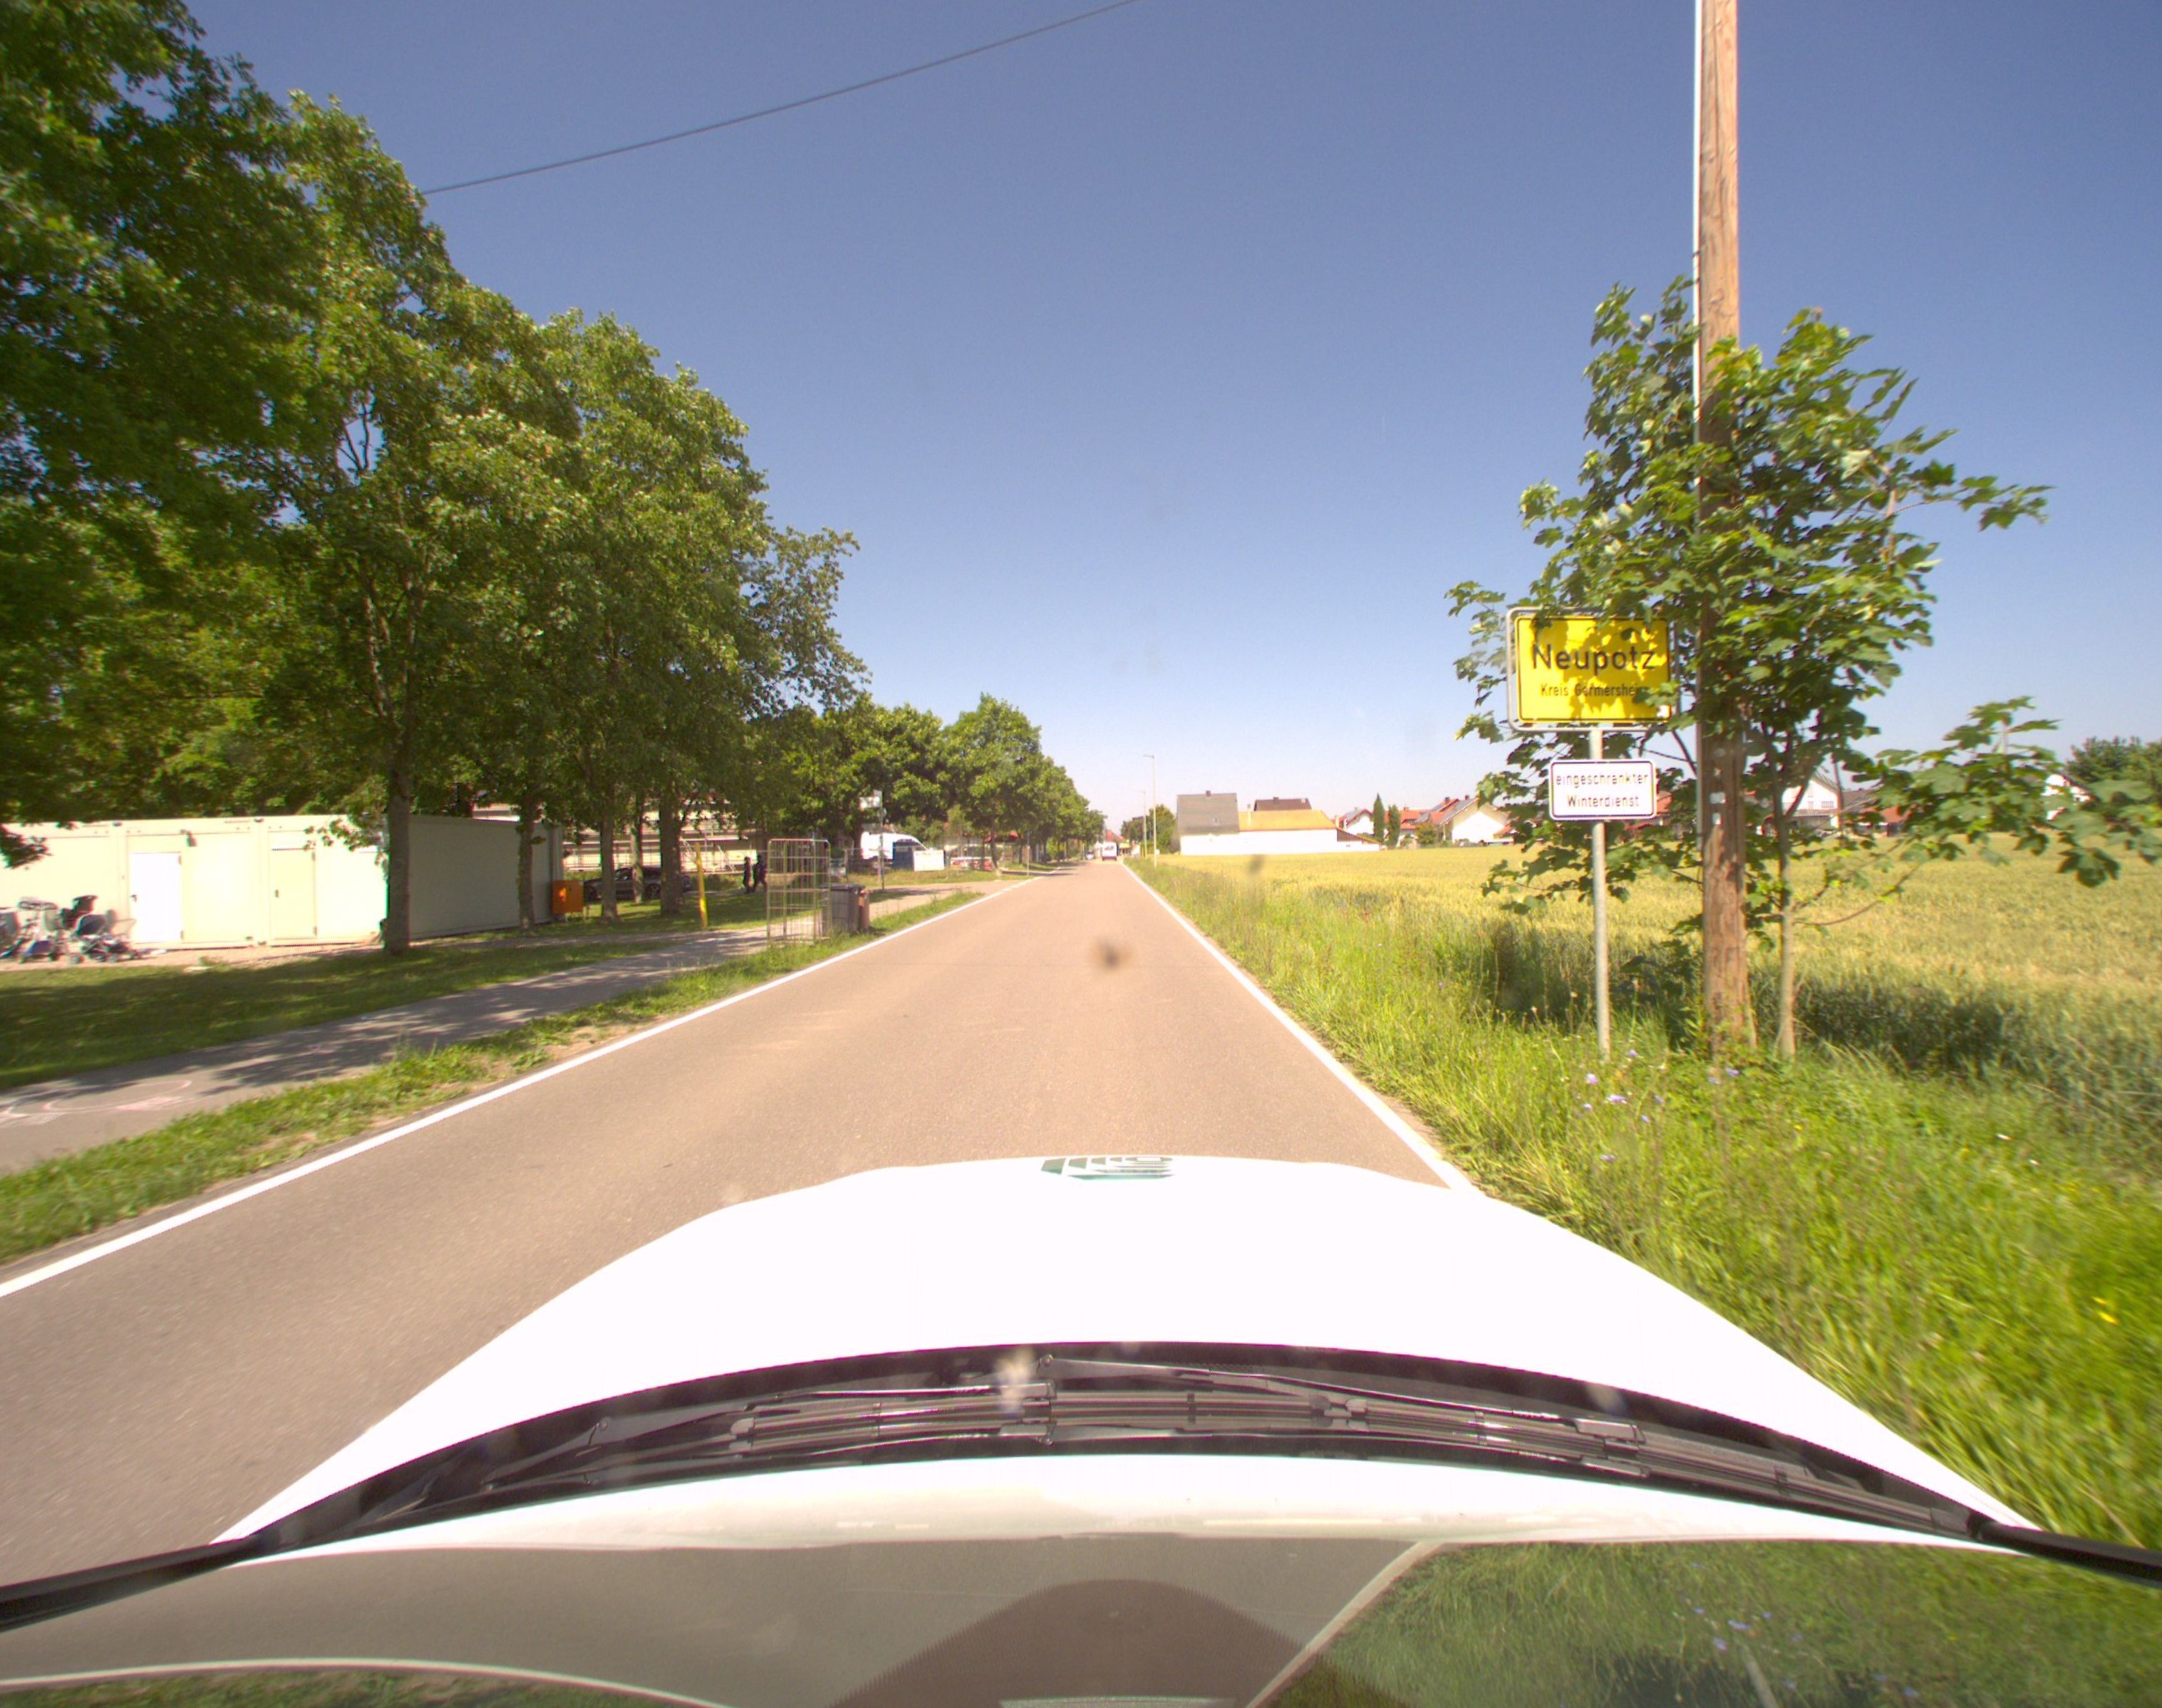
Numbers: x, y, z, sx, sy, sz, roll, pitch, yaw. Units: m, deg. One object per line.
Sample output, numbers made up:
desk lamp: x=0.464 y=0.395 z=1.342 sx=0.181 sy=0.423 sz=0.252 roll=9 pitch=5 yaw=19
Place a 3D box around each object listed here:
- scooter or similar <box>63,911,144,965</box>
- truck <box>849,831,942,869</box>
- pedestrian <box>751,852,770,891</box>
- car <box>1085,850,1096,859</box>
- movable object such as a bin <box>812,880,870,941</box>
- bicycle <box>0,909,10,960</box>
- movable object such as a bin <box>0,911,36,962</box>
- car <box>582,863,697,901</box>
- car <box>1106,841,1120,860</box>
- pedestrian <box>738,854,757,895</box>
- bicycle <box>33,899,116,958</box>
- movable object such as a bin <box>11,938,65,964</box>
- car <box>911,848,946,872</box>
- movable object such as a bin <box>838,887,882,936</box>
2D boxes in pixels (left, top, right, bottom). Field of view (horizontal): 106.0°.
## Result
scooter or similar: x=-19.496 y=1.664 z=16.253 sx=0.892 sy=0.997 sz=0.533 roll=-2 pitch=0 yaw=-4
truck: x=-12.760 y=-0.303 z=56.168 sx=5.957 sy=2.483 sz=1.978 roll=-1 pitch=-1 yaw=-35
pedestrian: x=-14.597 y=0.787 z=37.097 sx=0.603 sy=1.751 sz=0.585 roll=-2 pitch=0 yaw=-8
car: x=1.649 y=0.153 z=140.719 sx=1.641 sy=1.423 sz=4.082 roll=-4 pitch=0 yaw=2
movable object such as a bin: x=-4.319 y=1.003 z=14.700 sx=0.694 sy=1.024 sz=0.750 roll=-2 pitch=0 yaw=9
bicycle: x=-23.982 y=1.766 z=17.499 sx=1.236 sy=1.082 sz=0.506 roll=-2 pitch=0 yaw=0
movable object such as a bin: x=-22.320 y=1.708 z=16.774 sx=0.692 sy=1.013 sz=0.663 roll=-2 pitch=0 yaw=-2
car: x=-18.579 y=1.140 z=34.405 sx=3.795 sy=1.399 sz=1.755 roll=-2 pitch=0 yaw=-6
car: x=4.415 y=-0.462 z=111.375 sx=1.730 sy=2.432 sz=4.378 roll=-2 pitch=0 yaw=3
pedestrian: x=-14.861 y=0.906 z=36.290 sx=0.603 sy=1.751 sz=0.585 roll=-2 pitch=0 yaw=-8
bicycle: x=-22.053 y=1.619 z=17.854 sx=1.236 sy=1.213 sz=0.423 roll=-2 pitch=0 yaw=-1
movable object such as a bin: x=-21.324 y=1.978 z=16.649 sx=0.666 sy=0.462 sz=0.297 roll=-2 pitch=0 yaw=-3
car: x=-12.618 y=0.479 z=67.777 sx=1.963 sy=1.838 sz=4.330 roll=-1 pitch=0 yaw=1
movable object such as a bin: x=-4.177 y=1.077 z=15.431 sx=0.559 sy=0.877 sz=0.615 roll=-2 pitch=0 yaw=9
